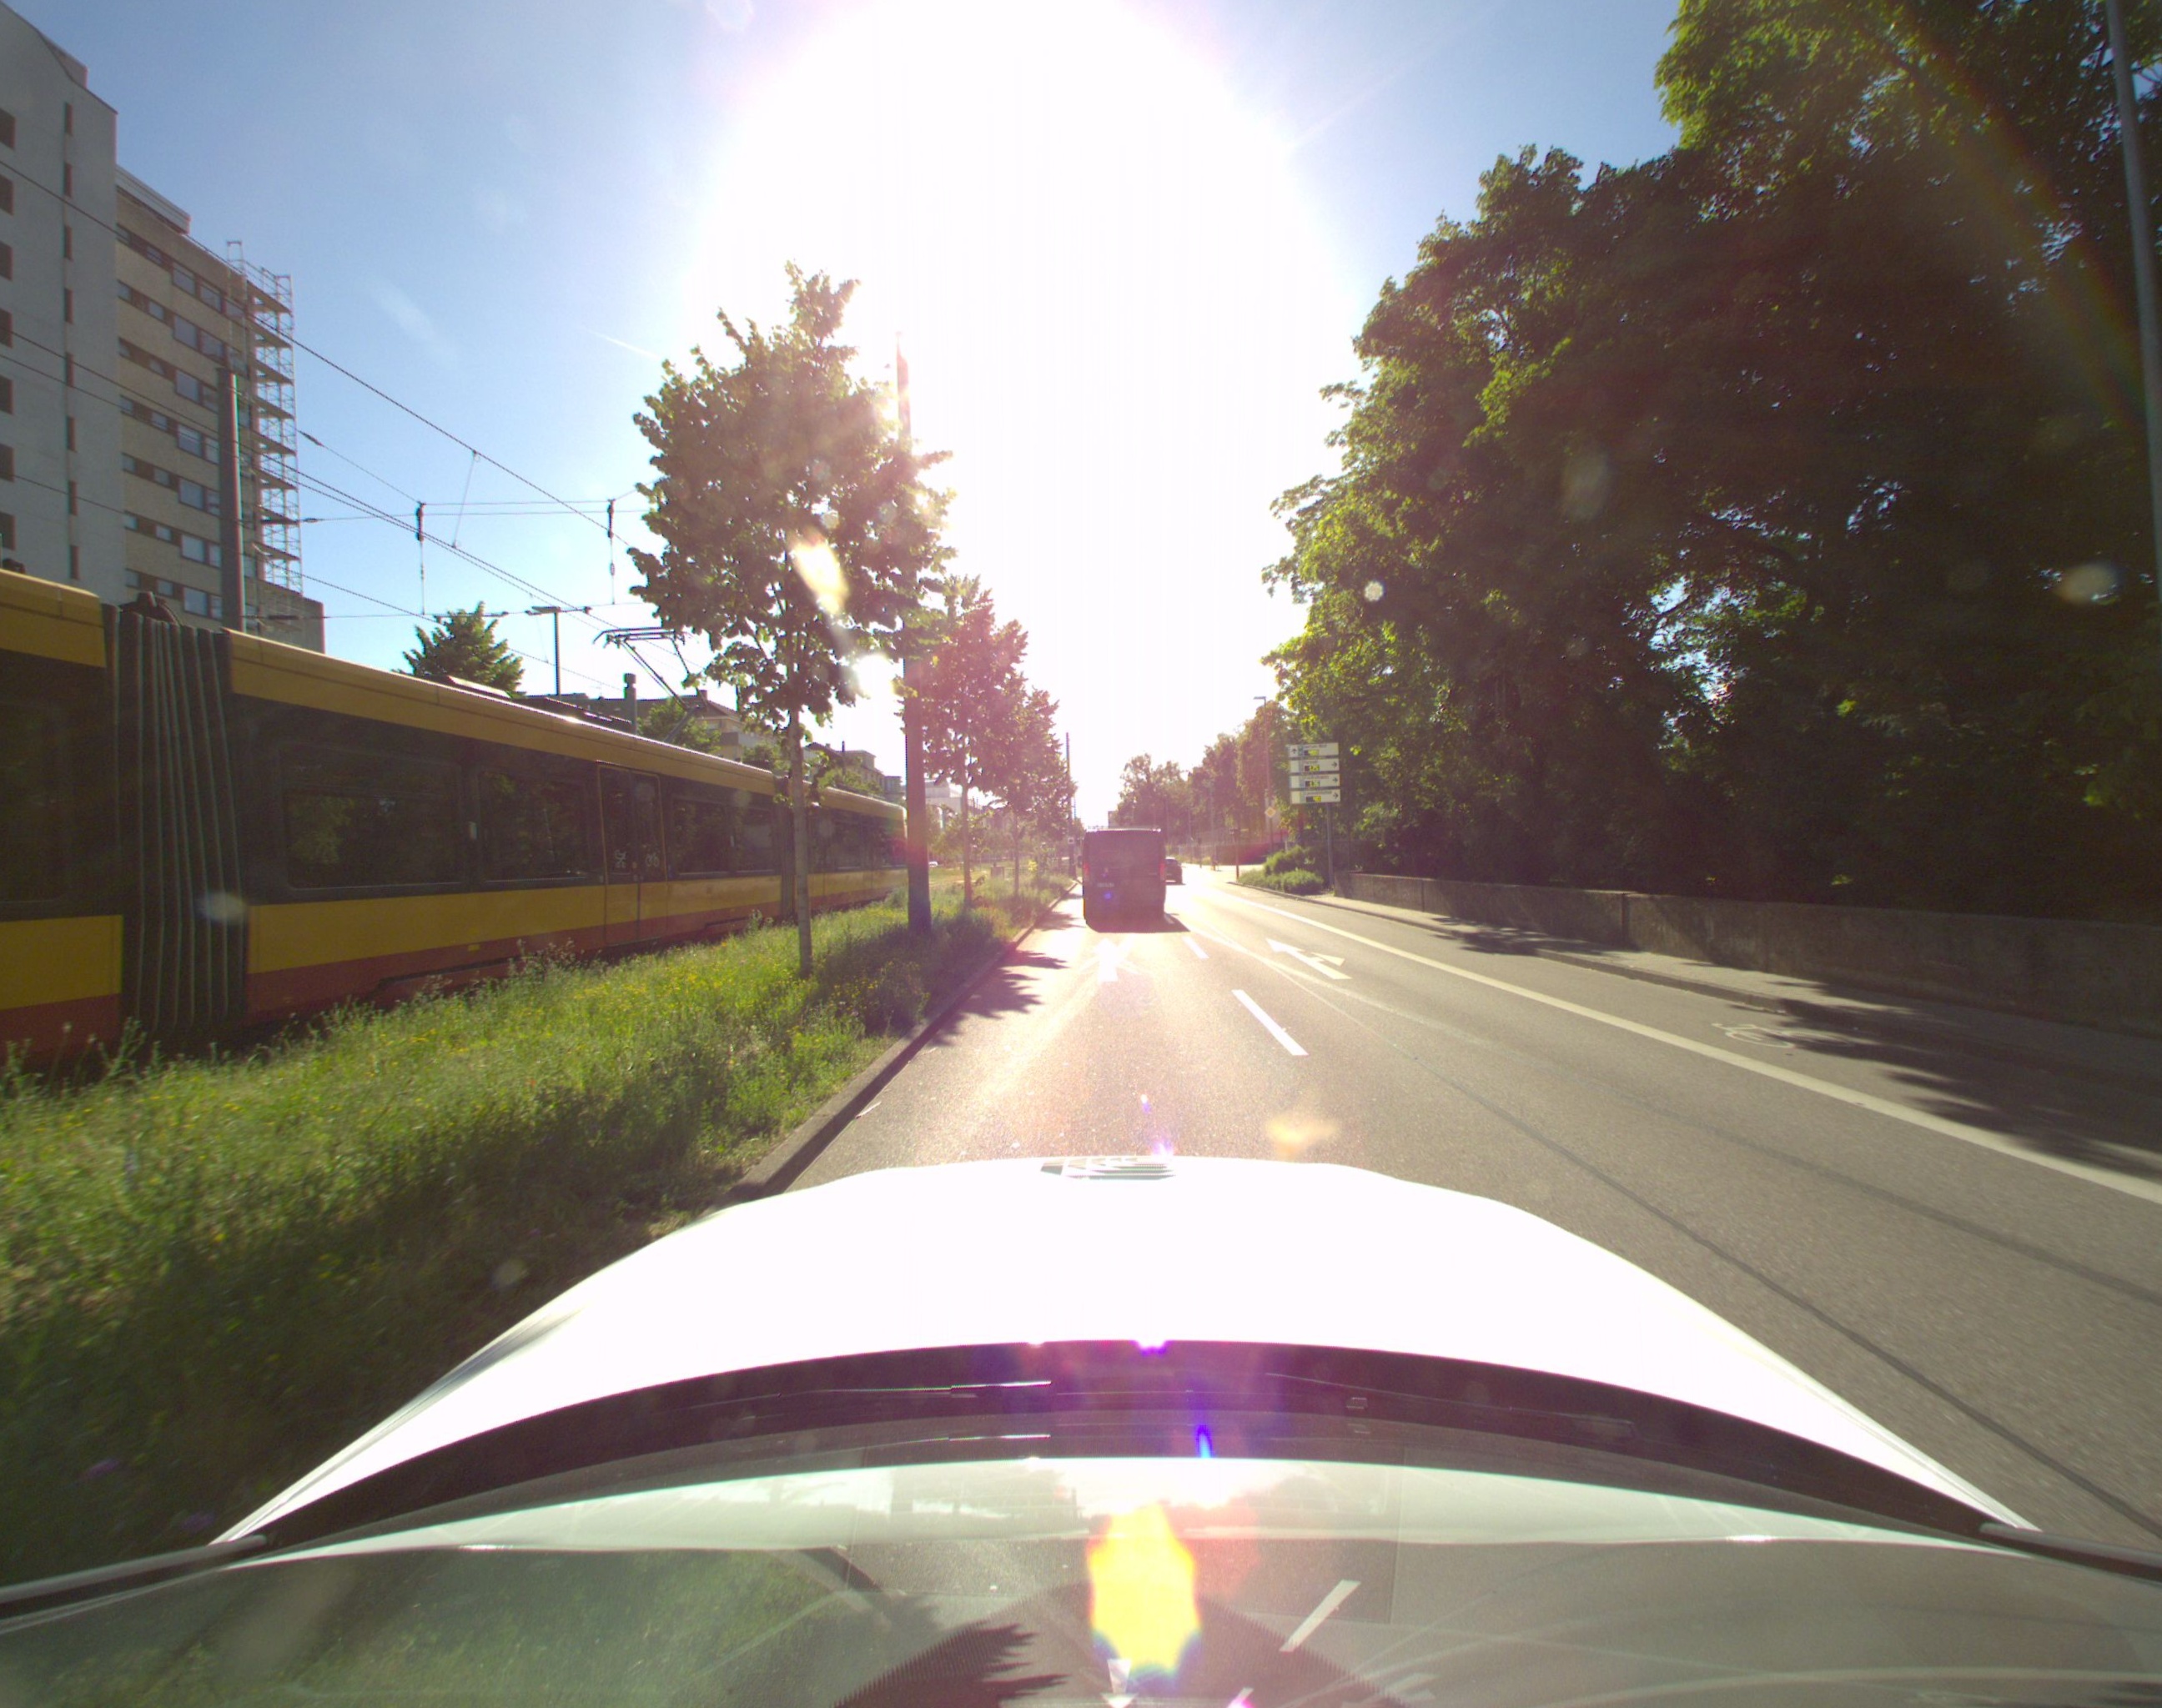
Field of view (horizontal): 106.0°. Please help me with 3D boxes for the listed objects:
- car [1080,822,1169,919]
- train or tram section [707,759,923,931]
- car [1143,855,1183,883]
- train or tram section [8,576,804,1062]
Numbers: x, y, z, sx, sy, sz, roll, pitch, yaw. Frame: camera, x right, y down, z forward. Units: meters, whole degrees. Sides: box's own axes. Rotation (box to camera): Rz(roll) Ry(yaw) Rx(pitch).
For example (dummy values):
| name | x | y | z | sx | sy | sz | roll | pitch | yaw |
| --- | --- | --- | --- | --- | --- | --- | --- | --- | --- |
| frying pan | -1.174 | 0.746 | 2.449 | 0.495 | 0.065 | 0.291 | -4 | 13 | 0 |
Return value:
| name | x | y | z | sx | sy | sz | roll | pitch | yaw |
| --- | --- | --- | --- | --- | --- | --- | --- | --- | --- |
| car | 1.063 | 0.395 | 21.256 | 2.075 | 2.249 | 4.000 | -1 | 0 | 1 |
| train or tram section | -6.859 | -0.185 | 23.351 | 1.986 | 3.669 | 11.687 | -1 | 0 | 2 |
| car | 4.437 | 0.791 | 44.673 | 1.758 | 1.462 | 3.998 | -1 | 0 | -1 |
| train or tram section | -7.073 | -0.255 | 11.858 | 1.986 | 3.669 | 11.317 | -1 | 0 | 1 |
